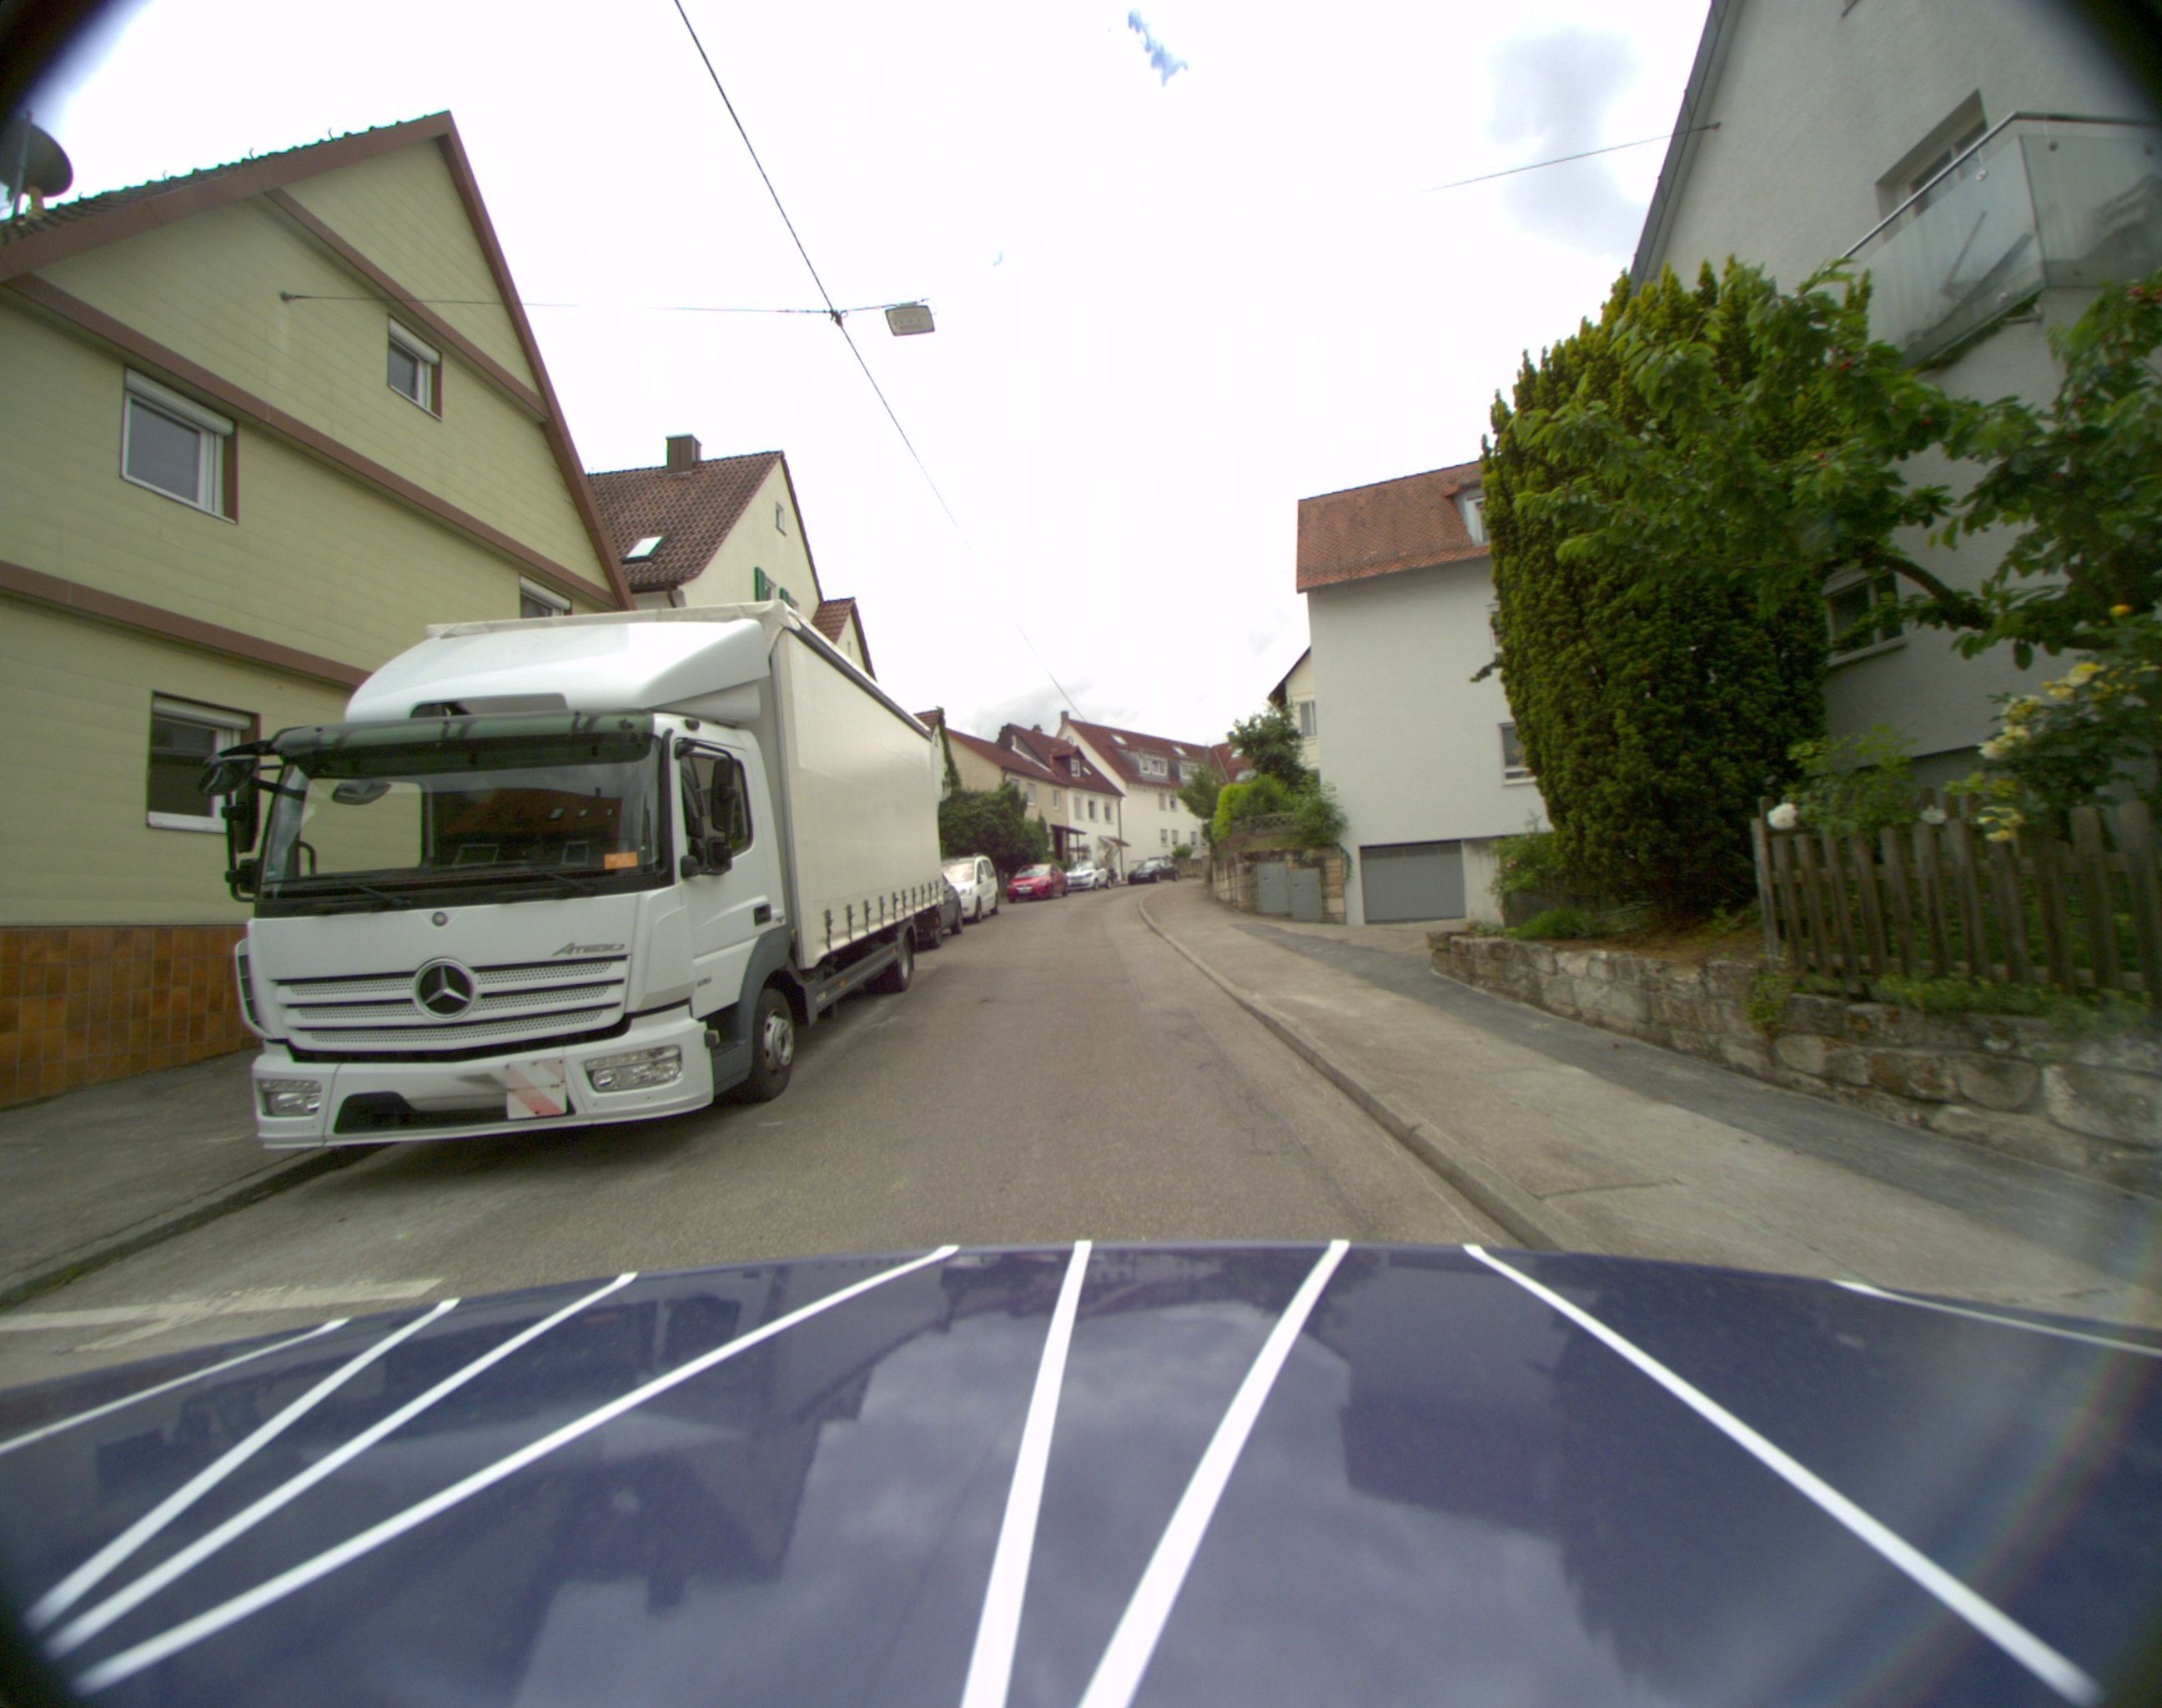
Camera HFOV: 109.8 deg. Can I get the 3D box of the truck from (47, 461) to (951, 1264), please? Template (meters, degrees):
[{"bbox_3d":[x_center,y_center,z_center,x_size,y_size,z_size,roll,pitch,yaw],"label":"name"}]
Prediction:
[{"bbox_3d":[-3.389,0.057,7.603,2.683,3.576,8.105,-4,0,-1],"label":"truck"}]

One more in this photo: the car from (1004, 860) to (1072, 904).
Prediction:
[{"bbox_3d":[-1.660,1.076,30.645,1.682,1.443,3.855,-5,0,12],"label":"car"}]

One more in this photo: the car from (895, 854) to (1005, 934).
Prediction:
[{"bbox_3d":[-3.428,0.980,20.760,1.839,1.803,4.305,-5,0,4],"label":"car"}]

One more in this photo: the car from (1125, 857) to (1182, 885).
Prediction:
[{"bbox_3d":[4.334,0.952,44.900,1.720,1.398,4.010,-7,-3,30],"label":"car"}]

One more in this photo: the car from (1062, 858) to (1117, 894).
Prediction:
[{"bbox_3d":[0.452,1.067,37.561,1.613,1.523,2.901,-7,-2,21],"label":"car"}]

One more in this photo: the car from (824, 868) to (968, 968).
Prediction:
[{"bbox_3d":[-3.500,1.146,15.188,1.737,1.497,4.051,-5,0,0],"label":"car"}]
